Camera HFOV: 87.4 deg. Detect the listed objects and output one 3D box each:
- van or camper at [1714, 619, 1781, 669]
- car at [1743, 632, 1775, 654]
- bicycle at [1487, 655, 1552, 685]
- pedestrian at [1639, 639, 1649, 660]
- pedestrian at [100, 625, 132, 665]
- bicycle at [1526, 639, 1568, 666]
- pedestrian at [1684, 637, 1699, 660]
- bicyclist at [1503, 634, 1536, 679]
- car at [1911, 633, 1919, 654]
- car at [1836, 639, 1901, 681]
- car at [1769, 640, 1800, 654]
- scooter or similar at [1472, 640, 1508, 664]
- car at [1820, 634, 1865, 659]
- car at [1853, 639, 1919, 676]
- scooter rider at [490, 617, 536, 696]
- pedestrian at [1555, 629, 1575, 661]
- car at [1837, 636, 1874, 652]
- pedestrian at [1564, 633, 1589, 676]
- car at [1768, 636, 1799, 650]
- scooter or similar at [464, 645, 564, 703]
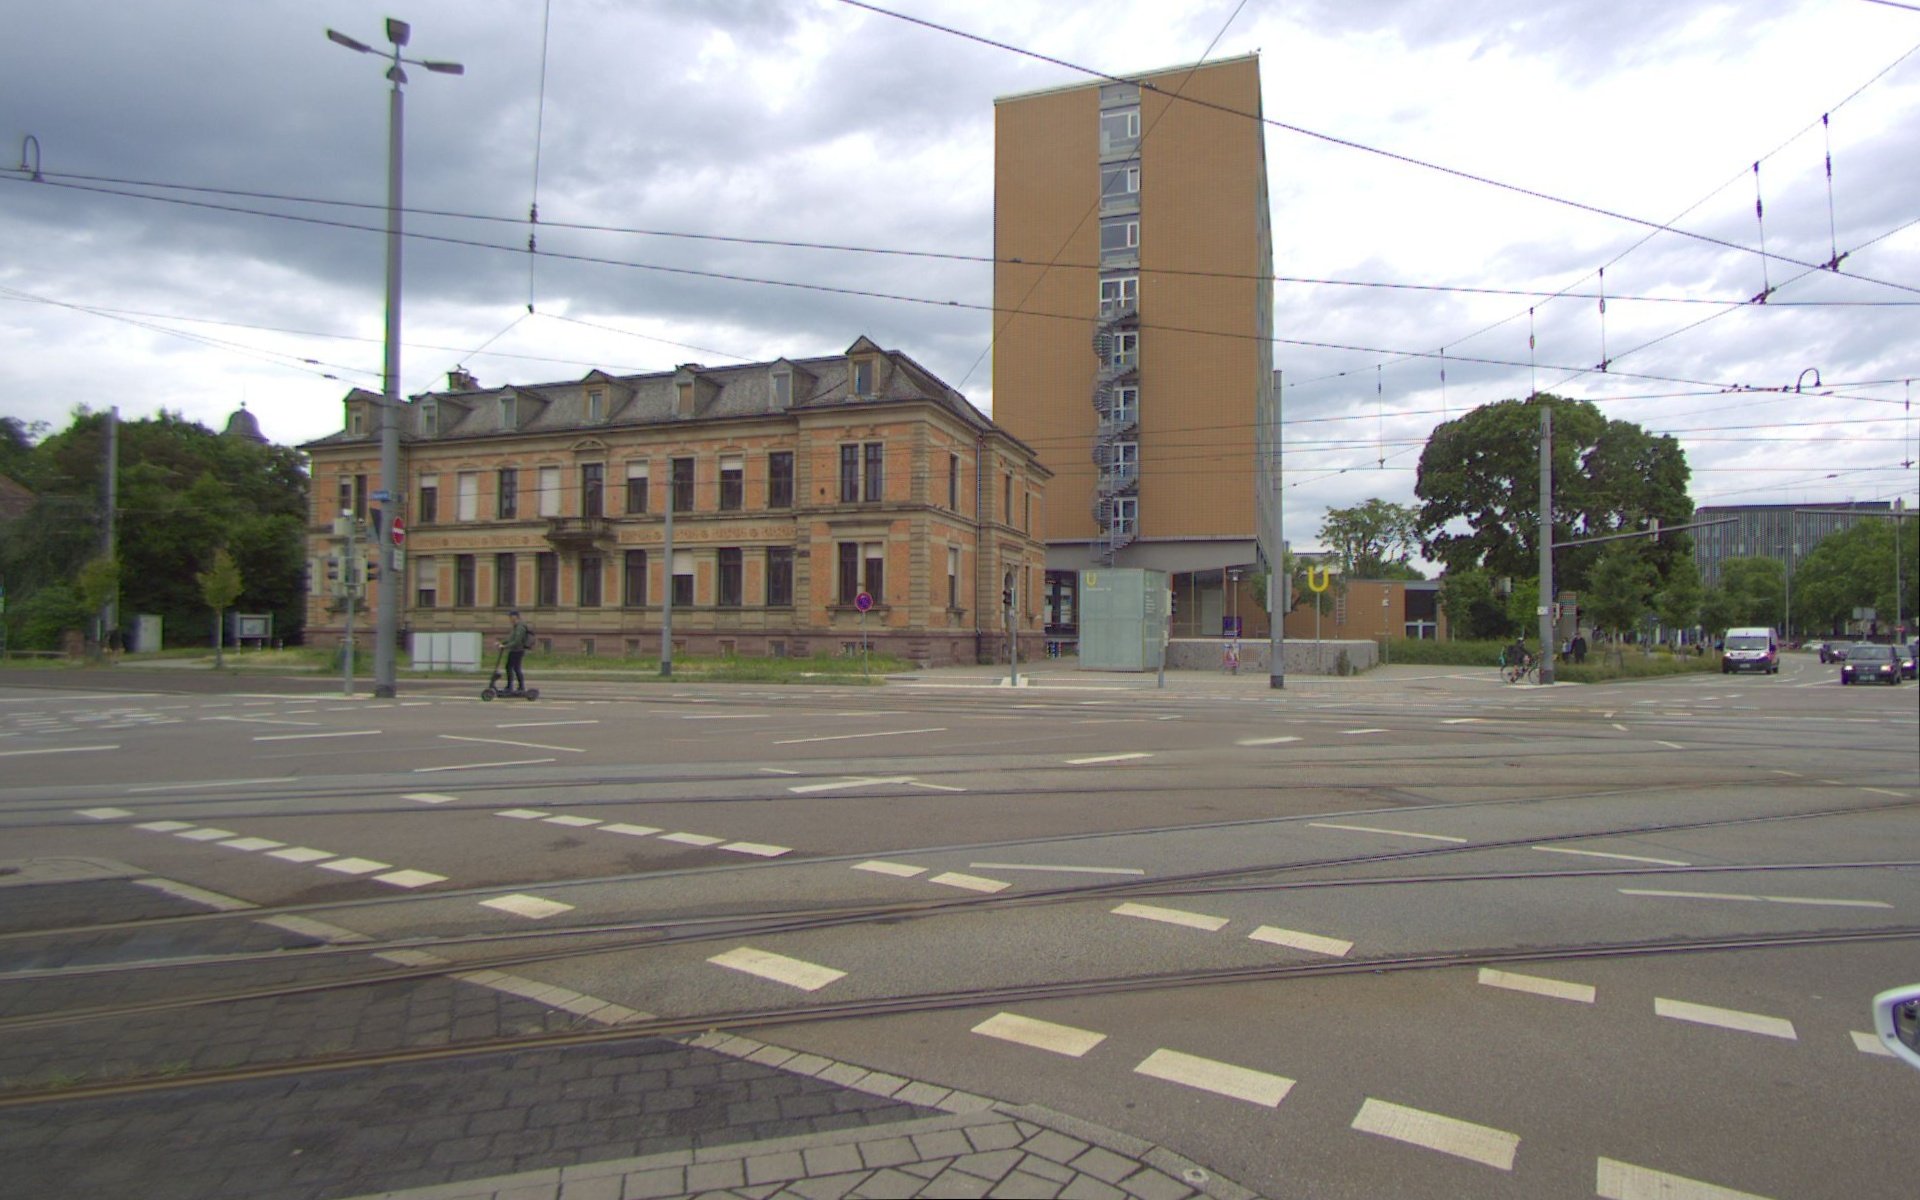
[{"bbox_3d":[42.746,2.368,54.463,2.255,2.560,5.540,-3,-3,44],"label":"van or camper"},{"bbox_3d":[77.825,4.170,97.842,1.965,2.040,3.991,-1,-2,32],"label":"car"},{"bbox_3d":[22.102,2.746,39.696,0.788,1.041,2.099,7,-4,-35],"label":"bicycle"},{"bbox_3d":[51.596,3.728,75.735,0.555,1.561,0.751,-1,-2,41],"label":"pedestrian"},{"bbox_3d":[-40.048,2.123,47.667,0.833,1.856,0.810,0,-2,21],"label":"pedestrian"},{"bbox_3d":[32.772,2.924,56.084,2.220,1.468,0.846,1,-2,-20],"label":"bicycle"},{"bbox_3d":[58.715,3.908,80.651,0.883,1.866,0.664,-1,-2,42],"label":"pedestrian"},{"bbox_3d":[22.150,2.230,39.751,0.786,1.677,0.808,7,-4,-34],"label":"bicyclist"},{"bbox_3d":[93.099,4.148,96.045,1.963,2.040,3.996,0,-2,26],"label":"car"},{"bbox_3d":[35.381,2.307,39.095,3.641,1.535,1.603,2,-3,-44],"label":"car"},{"bbox_3d":[110.335,6.247,134.494,1.961,1.773,4.001,0,-2,20],"label":"car"},{"bbox_3d":[29.697,2.904,56.313,1.746,1.319,0.628,-1,-2,34],"label":"scooter or similar"},{"bbox_3d":[64.478,3.430,73.463,1.845,1.747,4.699,-2,-3,34],"label":"car"},{"bbox_3d":[40.861,2.507,44.309,4.449,1.527,1.853,2,-5,-44],"label":"car"},{"bbox_3d":[-9.534,1.201,21.433,0.813,1.649,0.564,1,-2,-33],"label":"scooter rider"},{"bbox_3d":[33.178,2.448,55.110,0.680,1.756,0.741,1,-2,-39],"label":"pedestrian"},{"bbox_3d":[100.913,4.902,113.252,1.962,1.773,3.998,0,-2,24],"label":"car"},{"bbox_3d":[29.051,2.562,47.344,0.653,2.006,0.812,1,-2,-39],"label":"pedestrian"},{"bbox_3d":[103.897,5.363,126.741,1.962,1.704,4.008,0,-2,23],"label":"car"},{"bbox_3d":[-9.514,1.562,21.455,1.887,1.180,0.569,2,-2,-34],"label":"scooter or similar"}]
